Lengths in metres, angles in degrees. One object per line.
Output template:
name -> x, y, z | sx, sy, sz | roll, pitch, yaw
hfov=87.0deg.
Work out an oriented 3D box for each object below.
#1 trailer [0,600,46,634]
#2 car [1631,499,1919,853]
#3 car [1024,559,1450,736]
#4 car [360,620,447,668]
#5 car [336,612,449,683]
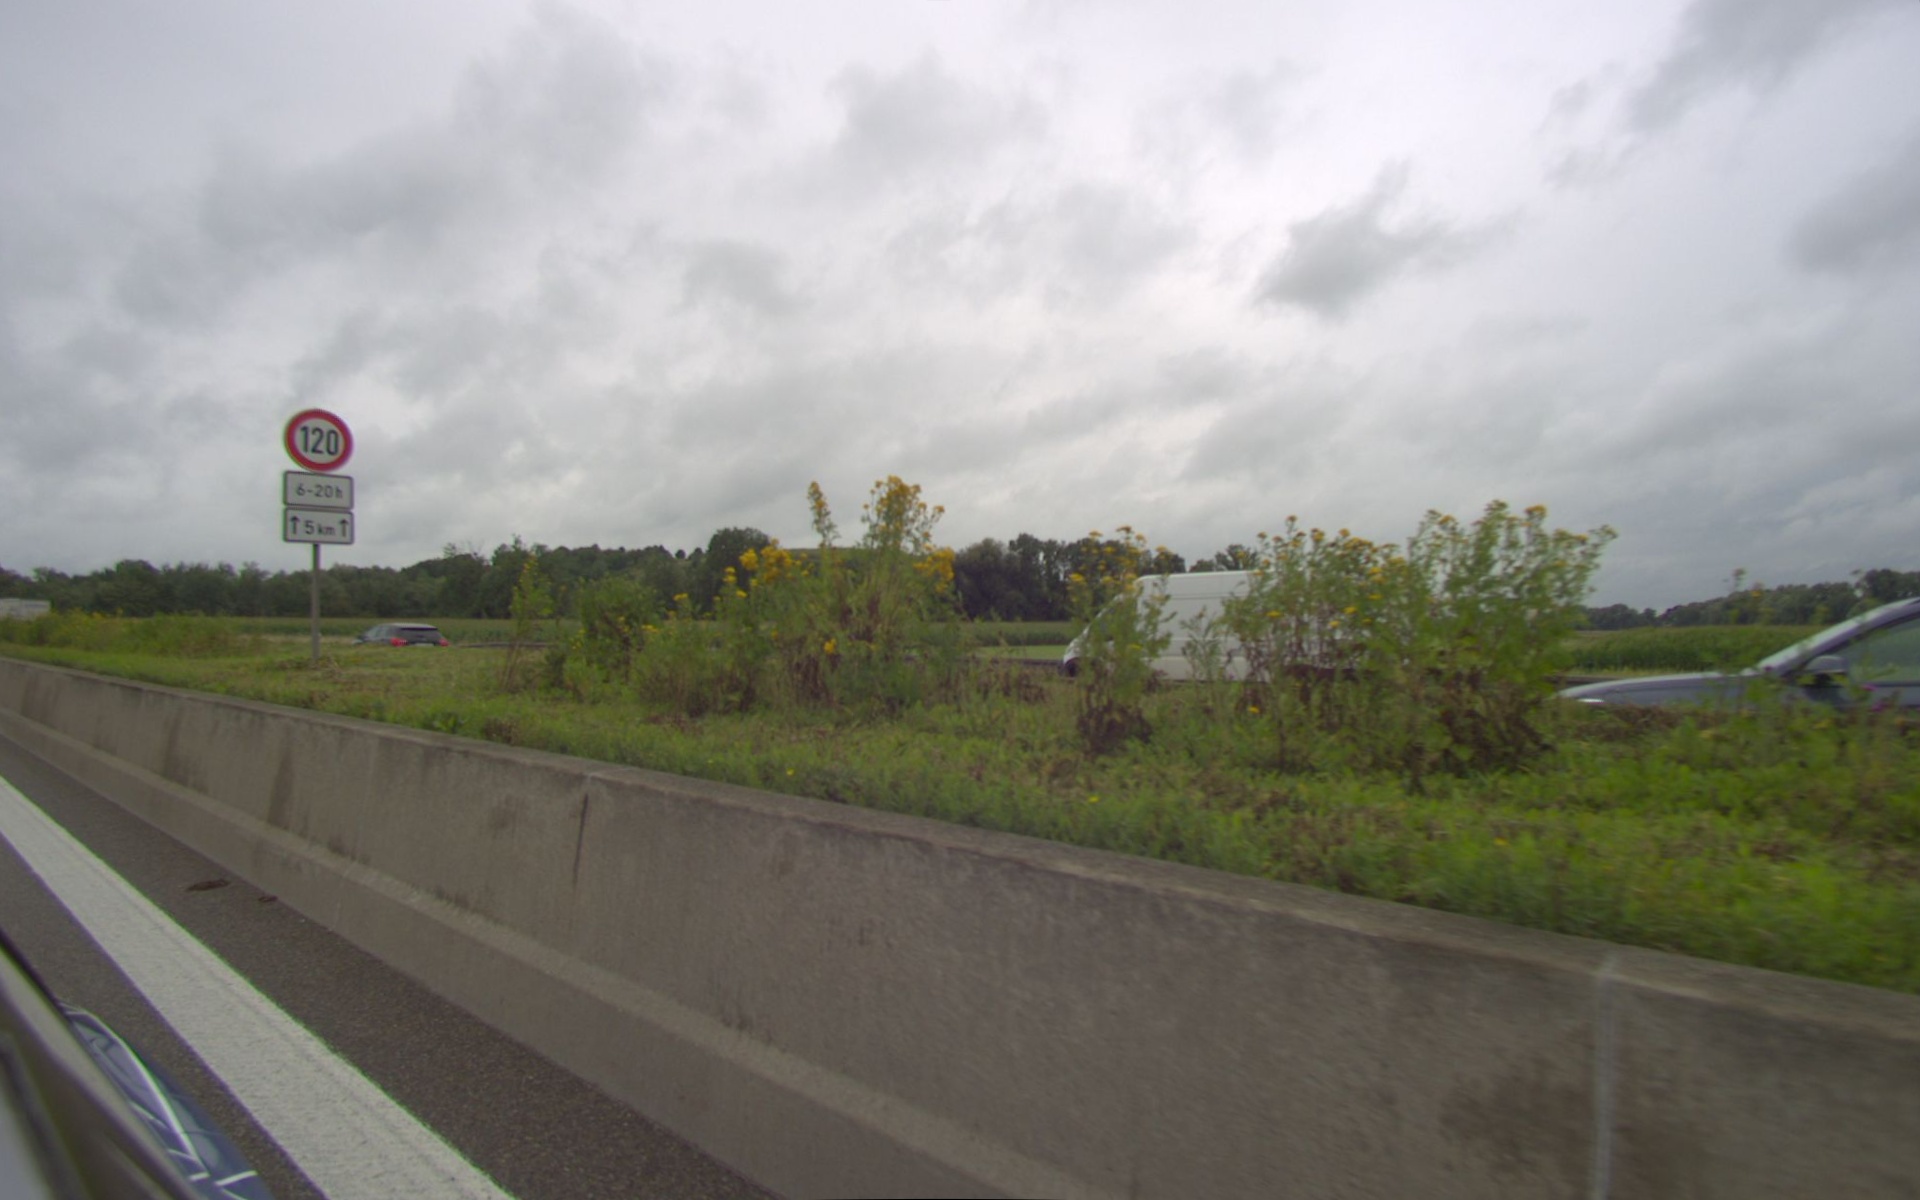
trailer -> -101.911, 1.827, 109.334 | 13.231, 3.454, 2.885 | -1, 0, 40
car -> 6.225, 0.381, 5.556 | 3.998, 1.852, 1.973 | -1, -1, 41
car -> 4.535, 0.699, 17.684 | 6.903, 2.549, 2.222 | -1, 0, 41
car -> -22.044, 1.726, 40.038 | 3.859, 1.788, 1.780 | -1, -3, 41
car -> -17.561, 1.422, 31.245 | 3.998, 2.029, 1.799 | -1, -1, 41
